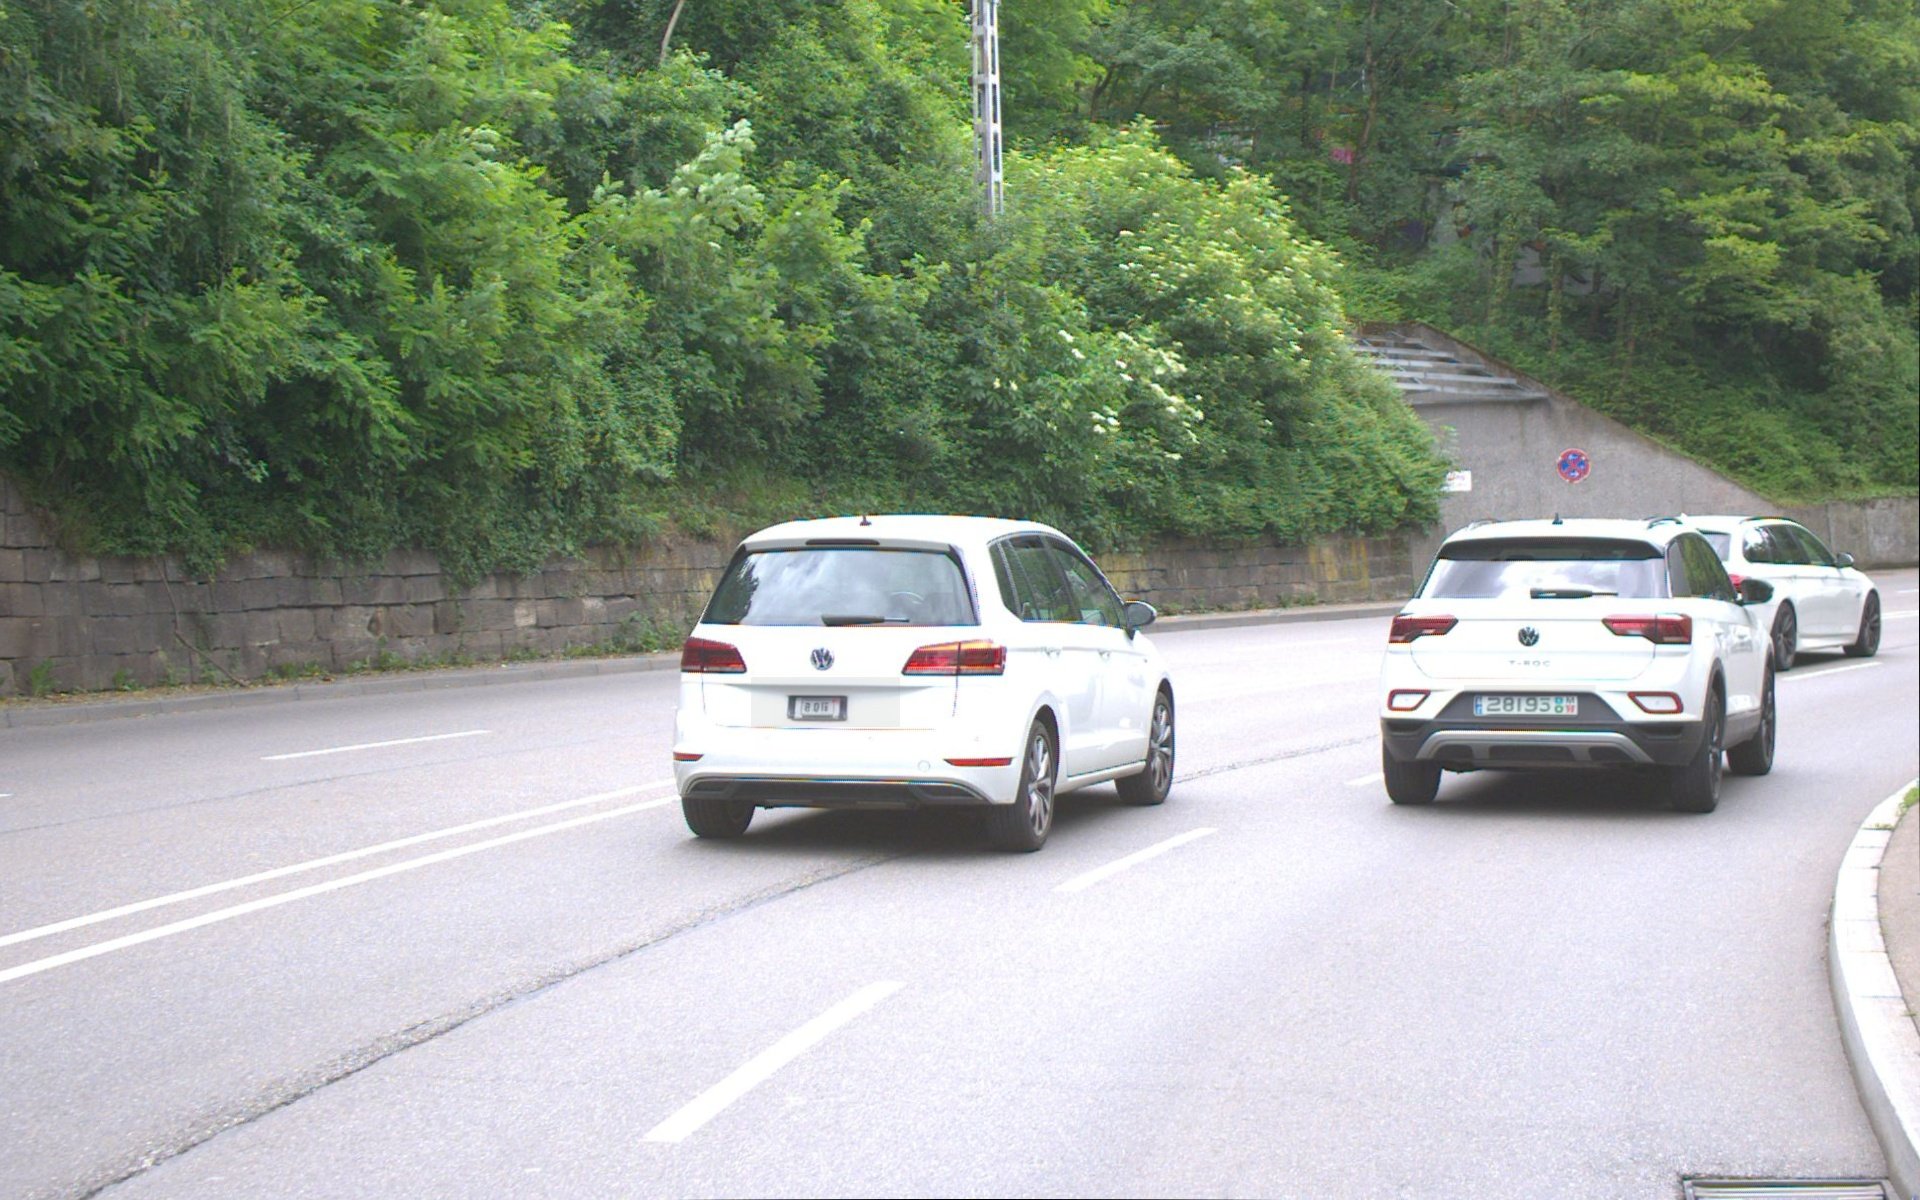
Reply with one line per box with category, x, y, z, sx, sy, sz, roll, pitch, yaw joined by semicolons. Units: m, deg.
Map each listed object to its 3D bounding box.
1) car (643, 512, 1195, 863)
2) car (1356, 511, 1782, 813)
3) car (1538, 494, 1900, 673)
car;-0.062;0.370;17.630;1.721;1.549;4.272;1;1;15
car;3.578;0.304;19.639;1.815;1.534;4.005;0;0;19
car;7.516;-0.193;33.701;1.997;1.552;4.673;4;3;31
